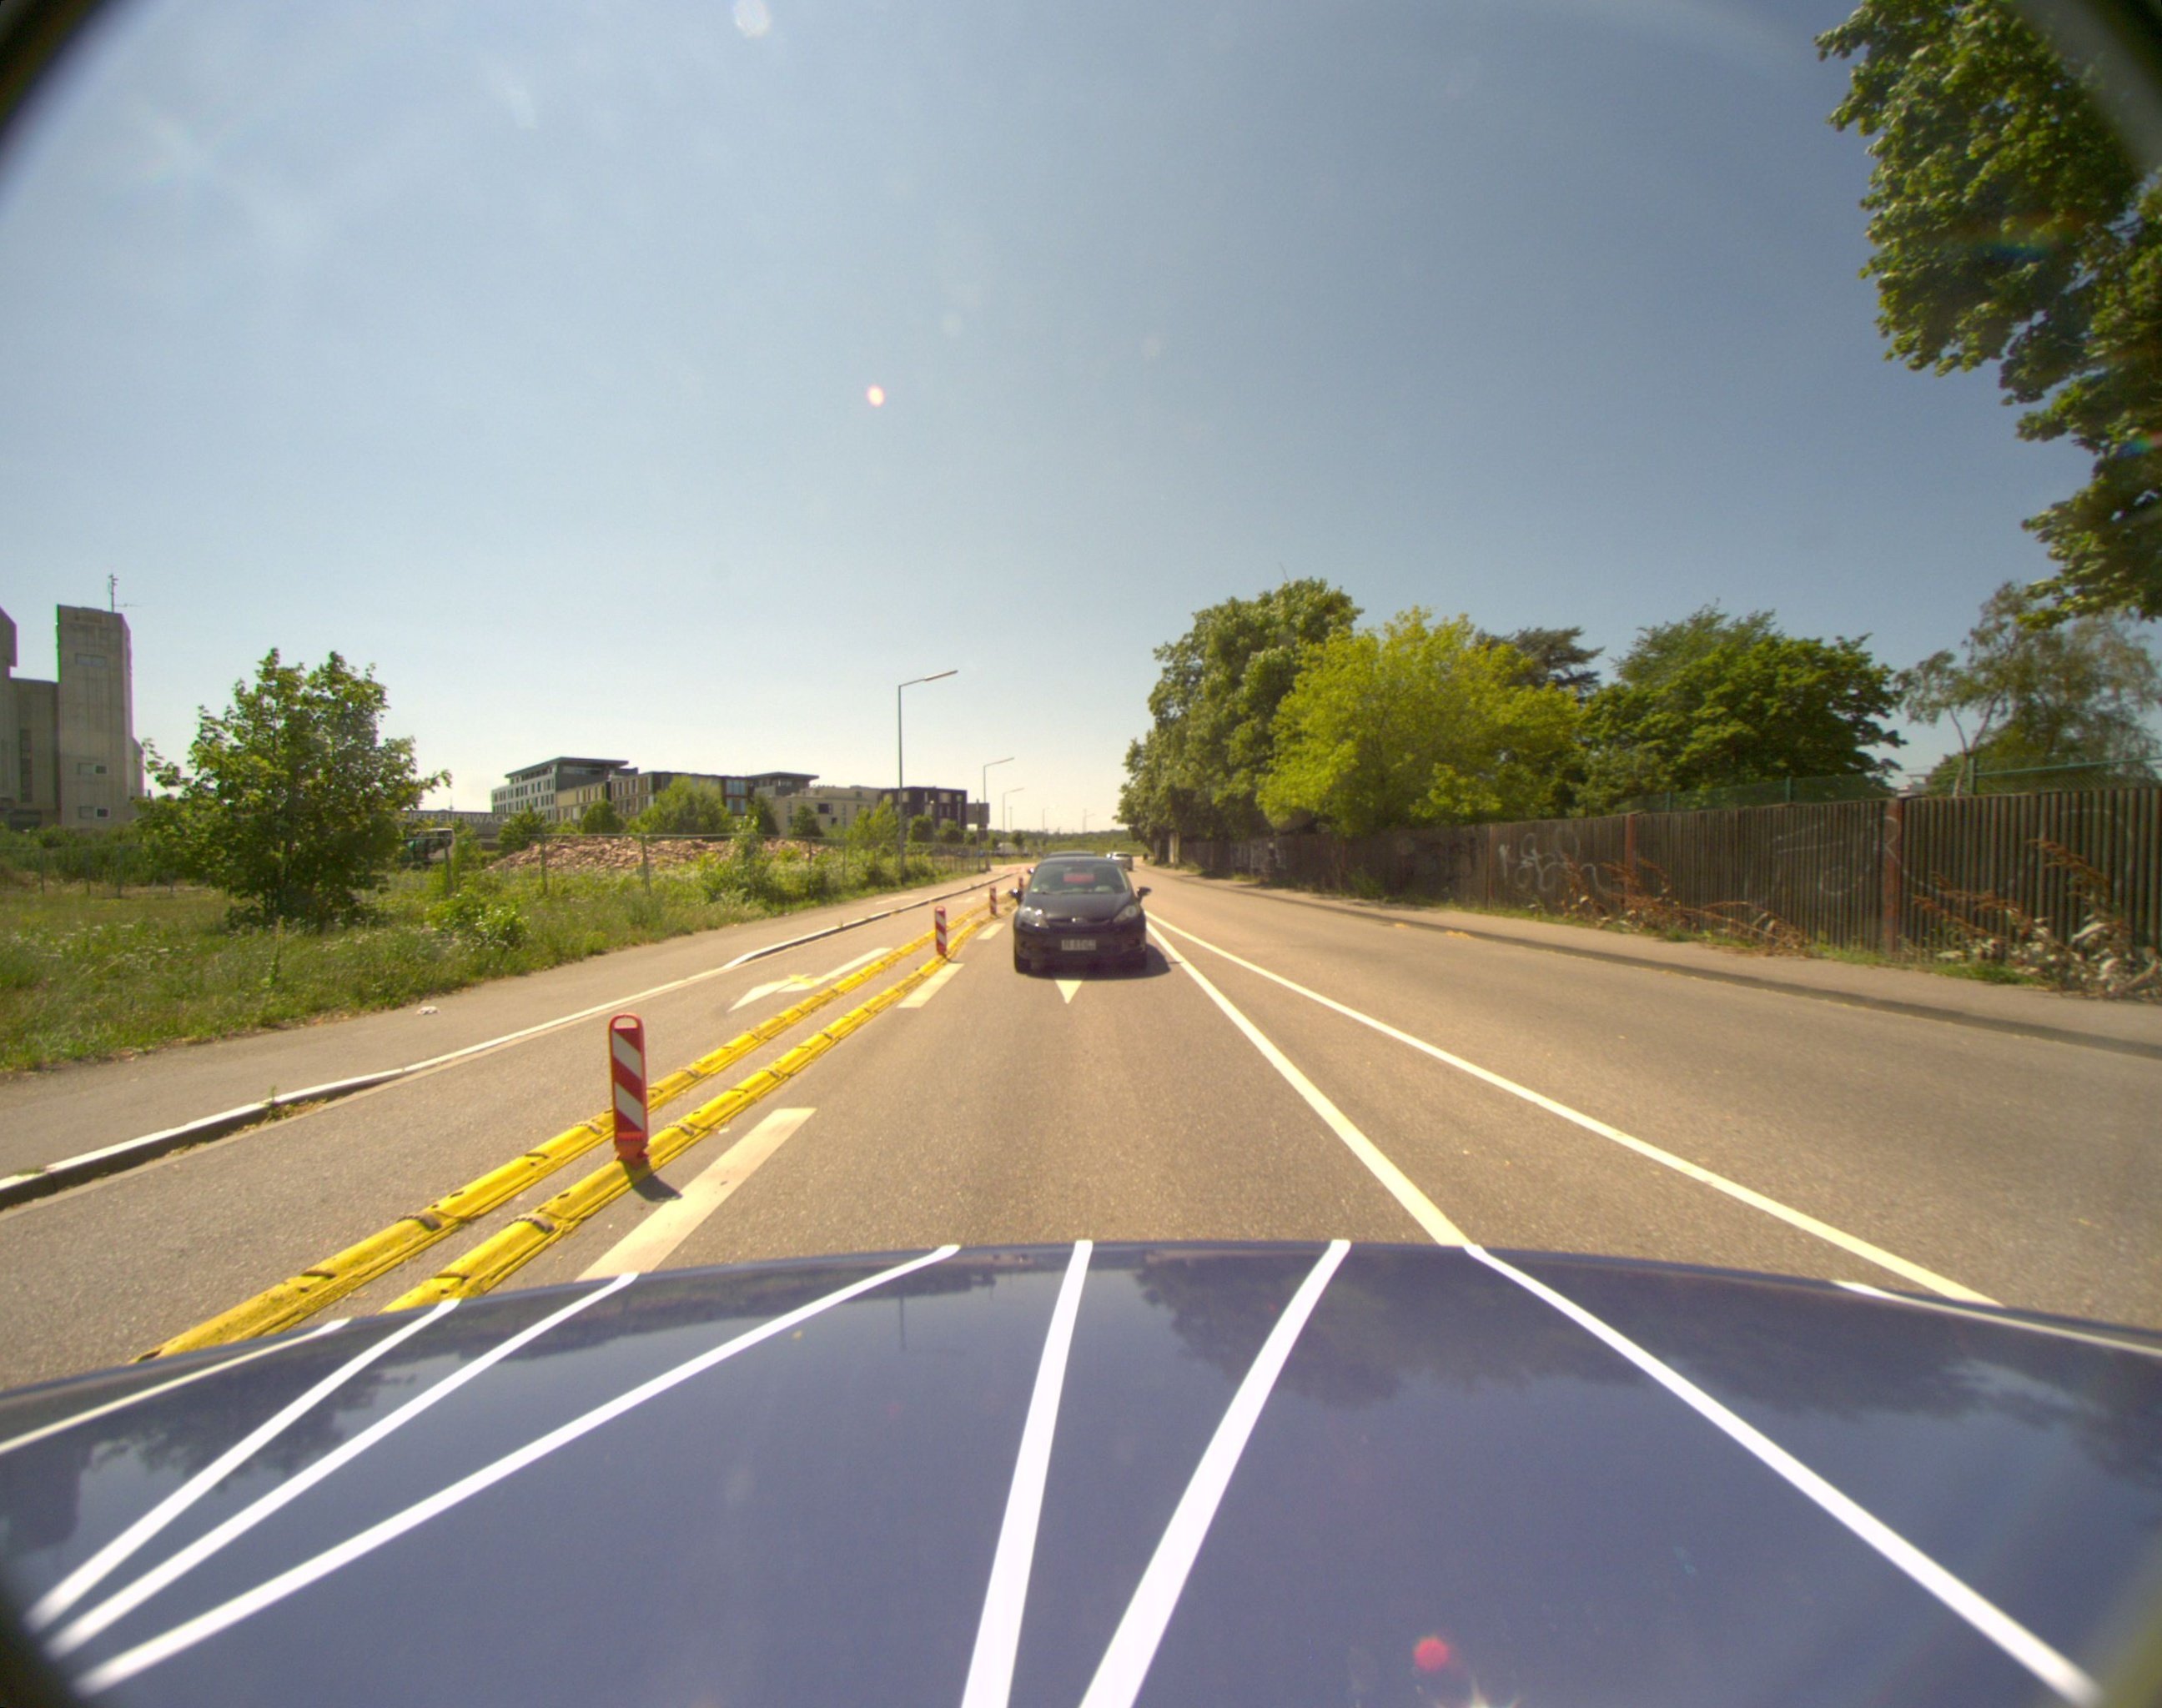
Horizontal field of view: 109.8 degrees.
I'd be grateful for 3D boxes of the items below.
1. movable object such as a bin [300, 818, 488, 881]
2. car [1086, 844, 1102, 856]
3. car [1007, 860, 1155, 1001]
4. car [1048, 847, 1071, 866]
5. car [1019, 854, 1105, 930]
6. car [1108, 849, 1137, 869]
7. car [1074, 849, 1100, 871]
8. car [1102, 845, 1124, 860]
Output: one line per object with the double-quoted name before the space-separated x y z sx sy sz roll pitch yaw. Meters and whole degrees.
"movable object such as a bin" -37.966 -0.299 42.463 2.810 3.131 7.608 -2 1 8
"car" 1.619 -0.503 96.784 1.759 1.536 3.693 0 0 -2
"car" 0.023 0.857 10.307 1.632 1.499 3.819 0 0 1
"car" -1.780 0.202 62.482 1.759 1.536 3.693 0 0 -2
"car" -0.363 0.773 17.552 1.720 1.518 4.211 0 0 1
"car" 3.174 0.357 58.611 1.719 1.455 3.841 1 0 -5
"car" 0.390 0.446 55.445 1.759 1.536 3.693 0 0 -2
"car" 3.266 -0.121 78.120 1.759 1.477 3.692 -1 0 -5
